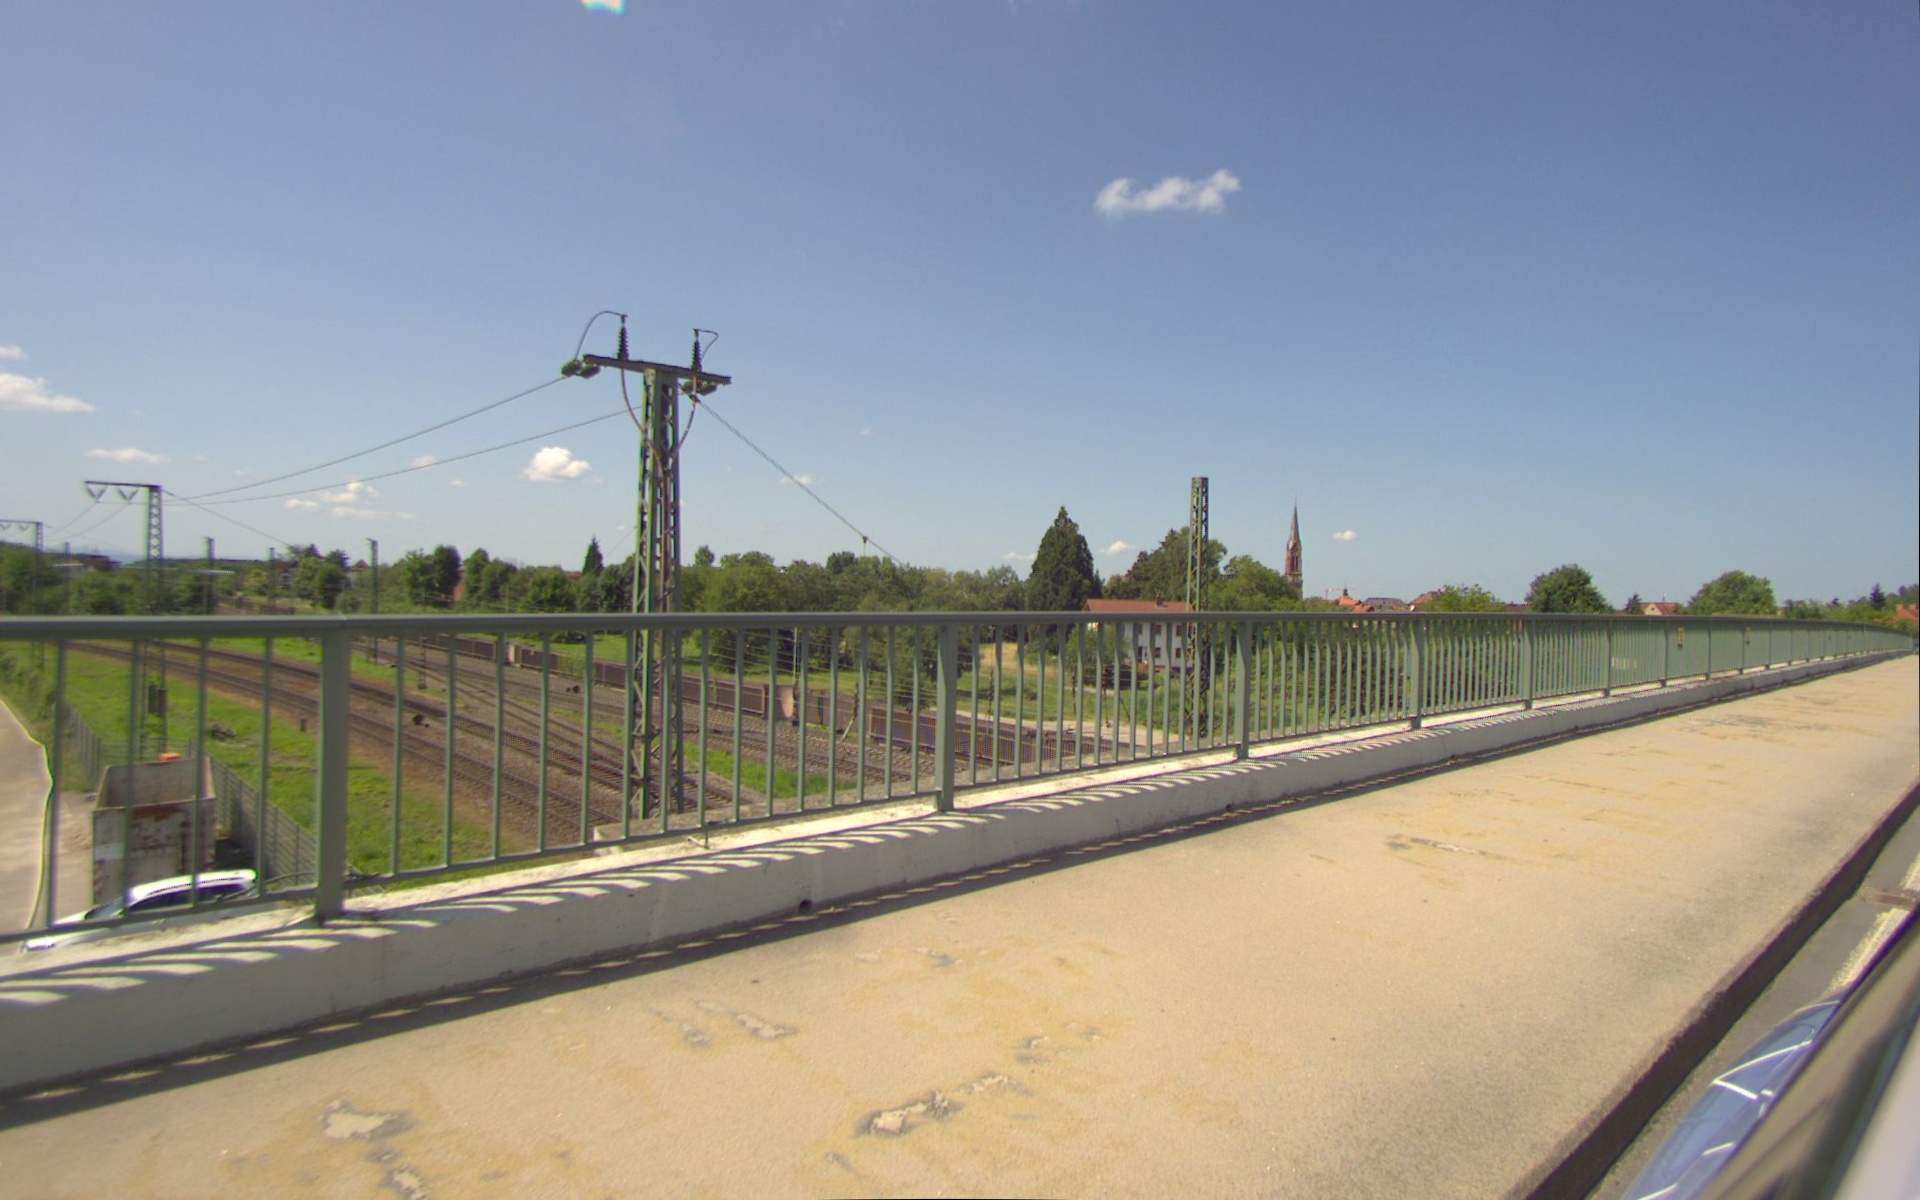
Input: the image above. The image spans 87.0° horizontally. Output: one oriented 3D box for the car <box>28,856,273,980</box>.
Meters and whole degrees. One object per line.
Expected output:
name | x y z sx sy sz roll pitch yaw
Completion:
car | -18.215 7.071 22.927 4.170 1.616 1.996 1 -4 -41
